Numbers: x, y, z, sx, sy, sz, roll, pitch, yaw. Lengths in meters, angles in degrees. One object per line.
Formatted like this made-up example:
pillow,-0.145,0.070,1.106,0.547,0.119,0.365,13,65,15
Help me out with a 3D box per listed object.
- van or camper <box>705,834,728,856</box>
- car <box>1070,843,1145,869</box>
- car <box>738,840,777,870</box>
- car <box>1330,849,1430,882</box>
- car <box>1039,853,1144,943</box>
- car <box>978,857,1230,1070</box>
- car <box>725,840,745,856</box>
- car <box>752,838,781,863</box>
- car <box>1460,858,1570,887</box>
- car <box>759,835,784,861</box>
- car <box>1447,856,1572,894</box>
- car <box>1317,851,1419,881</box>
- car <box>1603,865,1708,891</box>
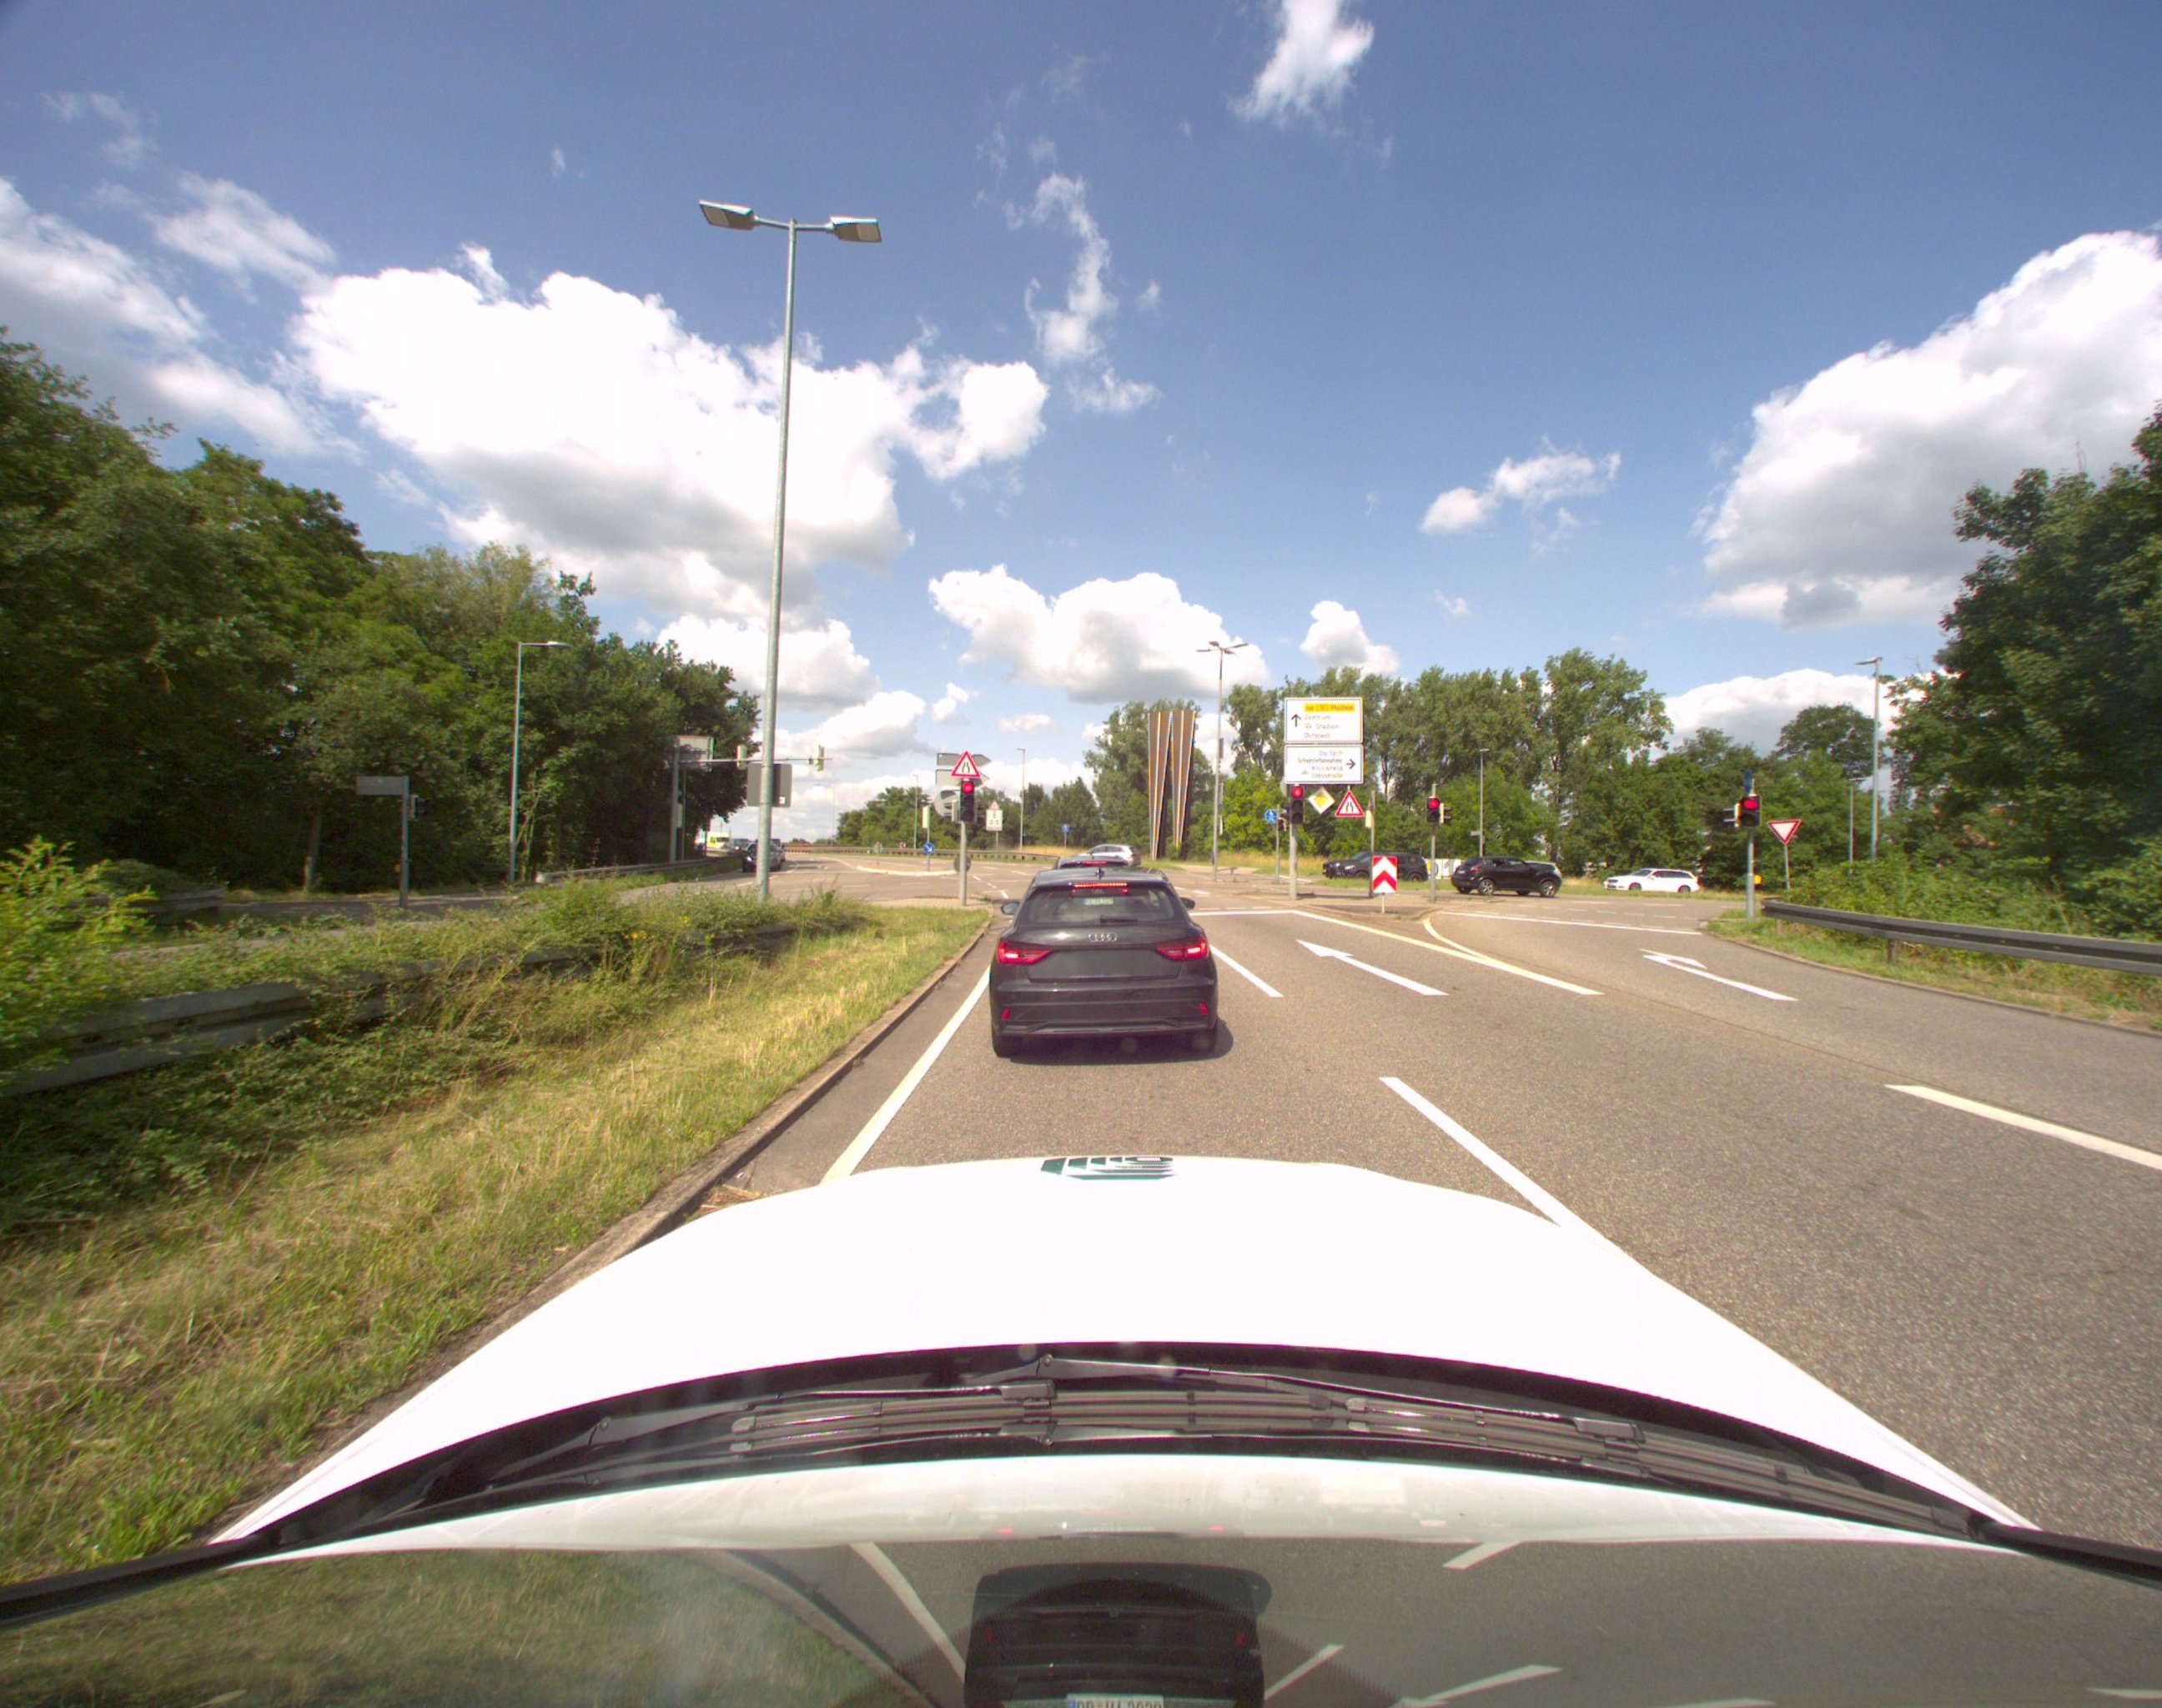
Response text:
van or camper,-46.529,-1.118,103.805,2.006,2.683,6.798,0,0,-30
car,1.627,0.126,49.329,4.072,1.496,2.010,1,0,19
car,-18.260,0.114,46.162,1.844,1.618,3.974,0,-1,-19
car,14.526,0.561,39.685,4.253,1.545,1.737,1,0,0
car,0.108,0.727,15.470,1.722,1.423,3.841,-1,0,-2
car,0.221,0.772,7.661,1.720,1.404,4.002,-1,0,2
car,-38.808,-0.676,91.271,1.853,1.705,4.289,1,0,-26
car,-23.194,-0.268,60.218,1.849,1.802,4.299,1,0,-19
car,21.115,0.900,39.705,4.460,1.320,1.736,1,0,-2
car,-25.747,-0.515,67.630,1.850,2.100,4.295,1,0,-22
car,16.738,0.811,31.926,3.953,1.418,1.949,1,0,-7
car,15.284,0.617,43.521,4.831,1.545,1.737,1,0,0
car,30.823,1.292,43.741,4.481,1.281,1.736,1,0,-2
